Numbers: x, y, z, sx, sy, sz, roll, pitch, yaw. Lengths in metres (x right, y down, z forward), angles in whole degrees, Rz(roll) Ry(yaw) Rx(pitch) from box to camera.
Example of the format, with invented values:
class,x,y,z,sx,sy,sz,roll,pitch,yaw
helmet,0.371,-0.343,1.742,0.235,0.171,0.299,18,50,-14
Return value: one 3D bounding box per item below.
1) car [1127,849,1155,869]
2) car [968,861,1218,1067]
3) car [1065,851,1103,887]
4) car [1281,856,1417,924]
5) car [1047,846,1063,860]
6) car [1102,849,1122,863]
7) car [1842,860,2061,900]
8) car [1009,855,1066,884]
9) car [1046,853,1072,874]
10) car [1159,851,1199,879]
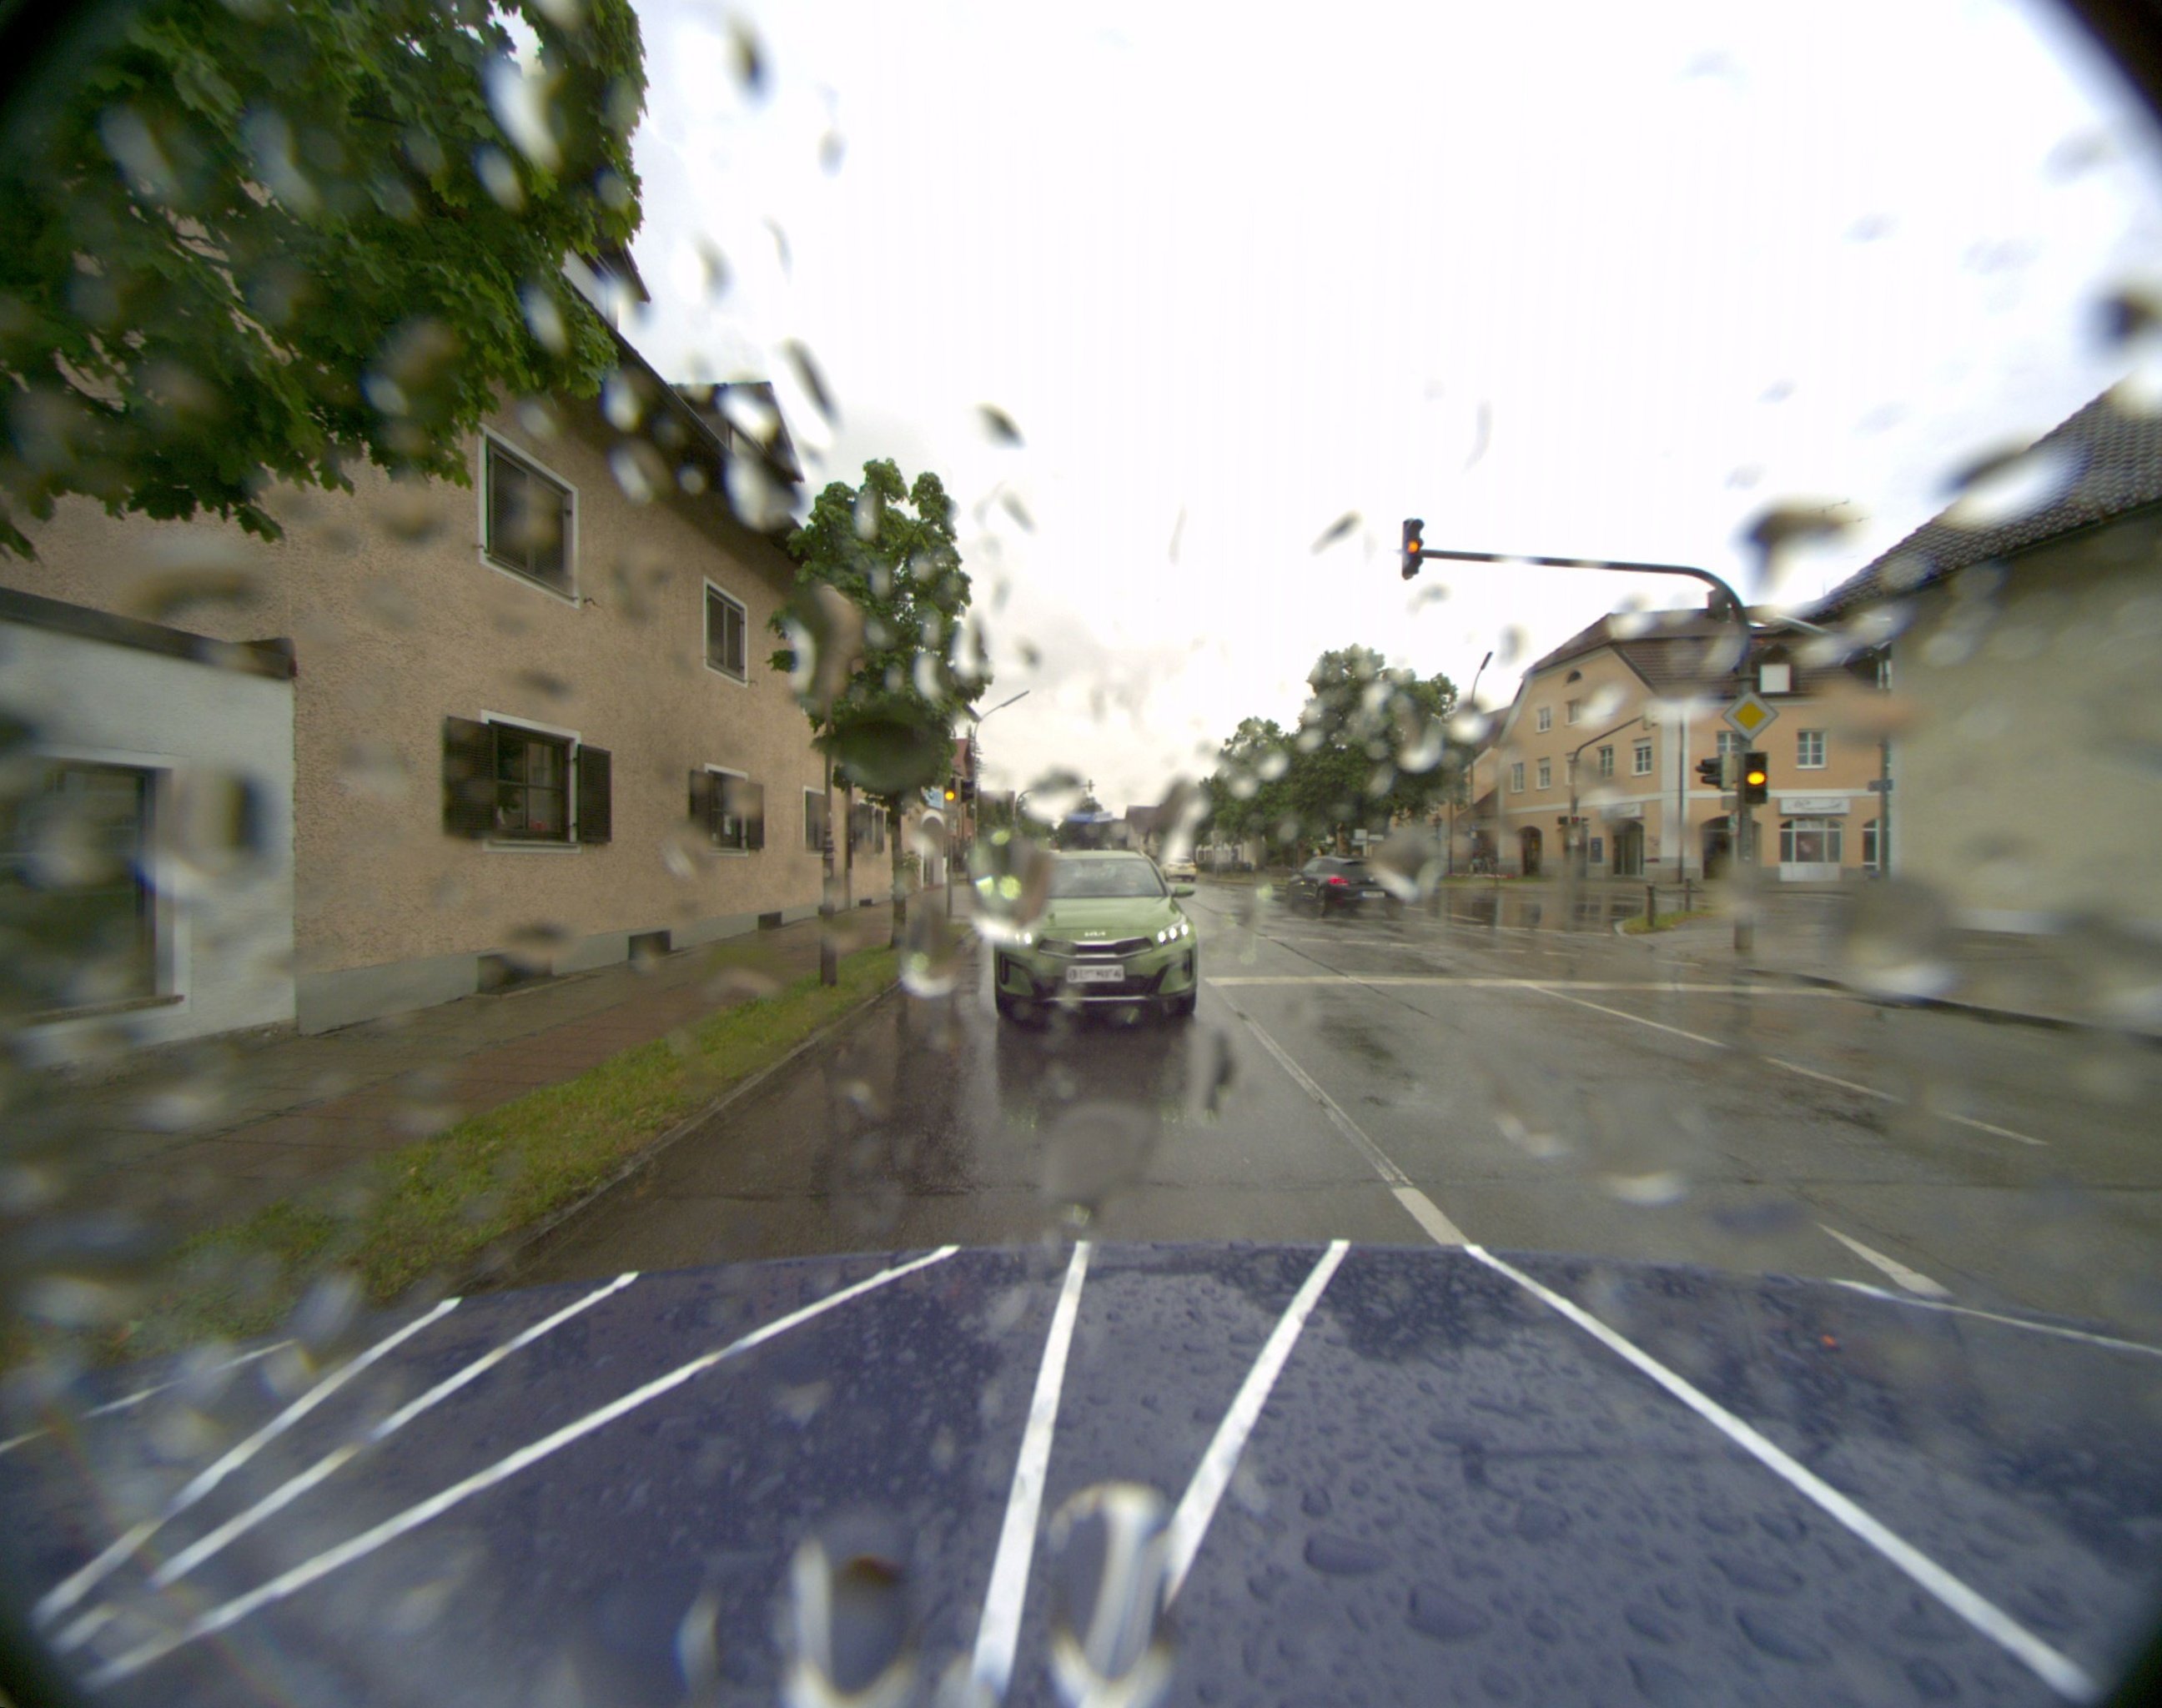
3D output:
class,x,y,z,sx,sy,sz,roll,pitch,yaw
car,4.899,0.390,62.461,1.931,1.557,4.125,0,1,-1
car,0.133,0.863,7.865,1.872,1.504,4.105,-1,0,1
car,0.166,0.631,34.664,1.637,1.509,4.000,1,0,1
car,6.277,0.771,18.281,2.001,1.399,3.884,1,1,2
car,-3.956,-0.193,114.050,2.218,1.977,4.952,1,0,-5
car,3.605,0.267,88.430,1.972,1.554,4.150,1,1,-2
car,27.417,0.793,24.103,4.352,1.178,1.691,0,1,15
car,-2.660,0.927,47.478,1.853,1.656,4.042,1,1,24
car,-1.656,0.686,59.205,1.839,1.509,4.669,1,0,1
car,5.790,0.613,45.342,1.757,1.502,4.229,1,1,-1
